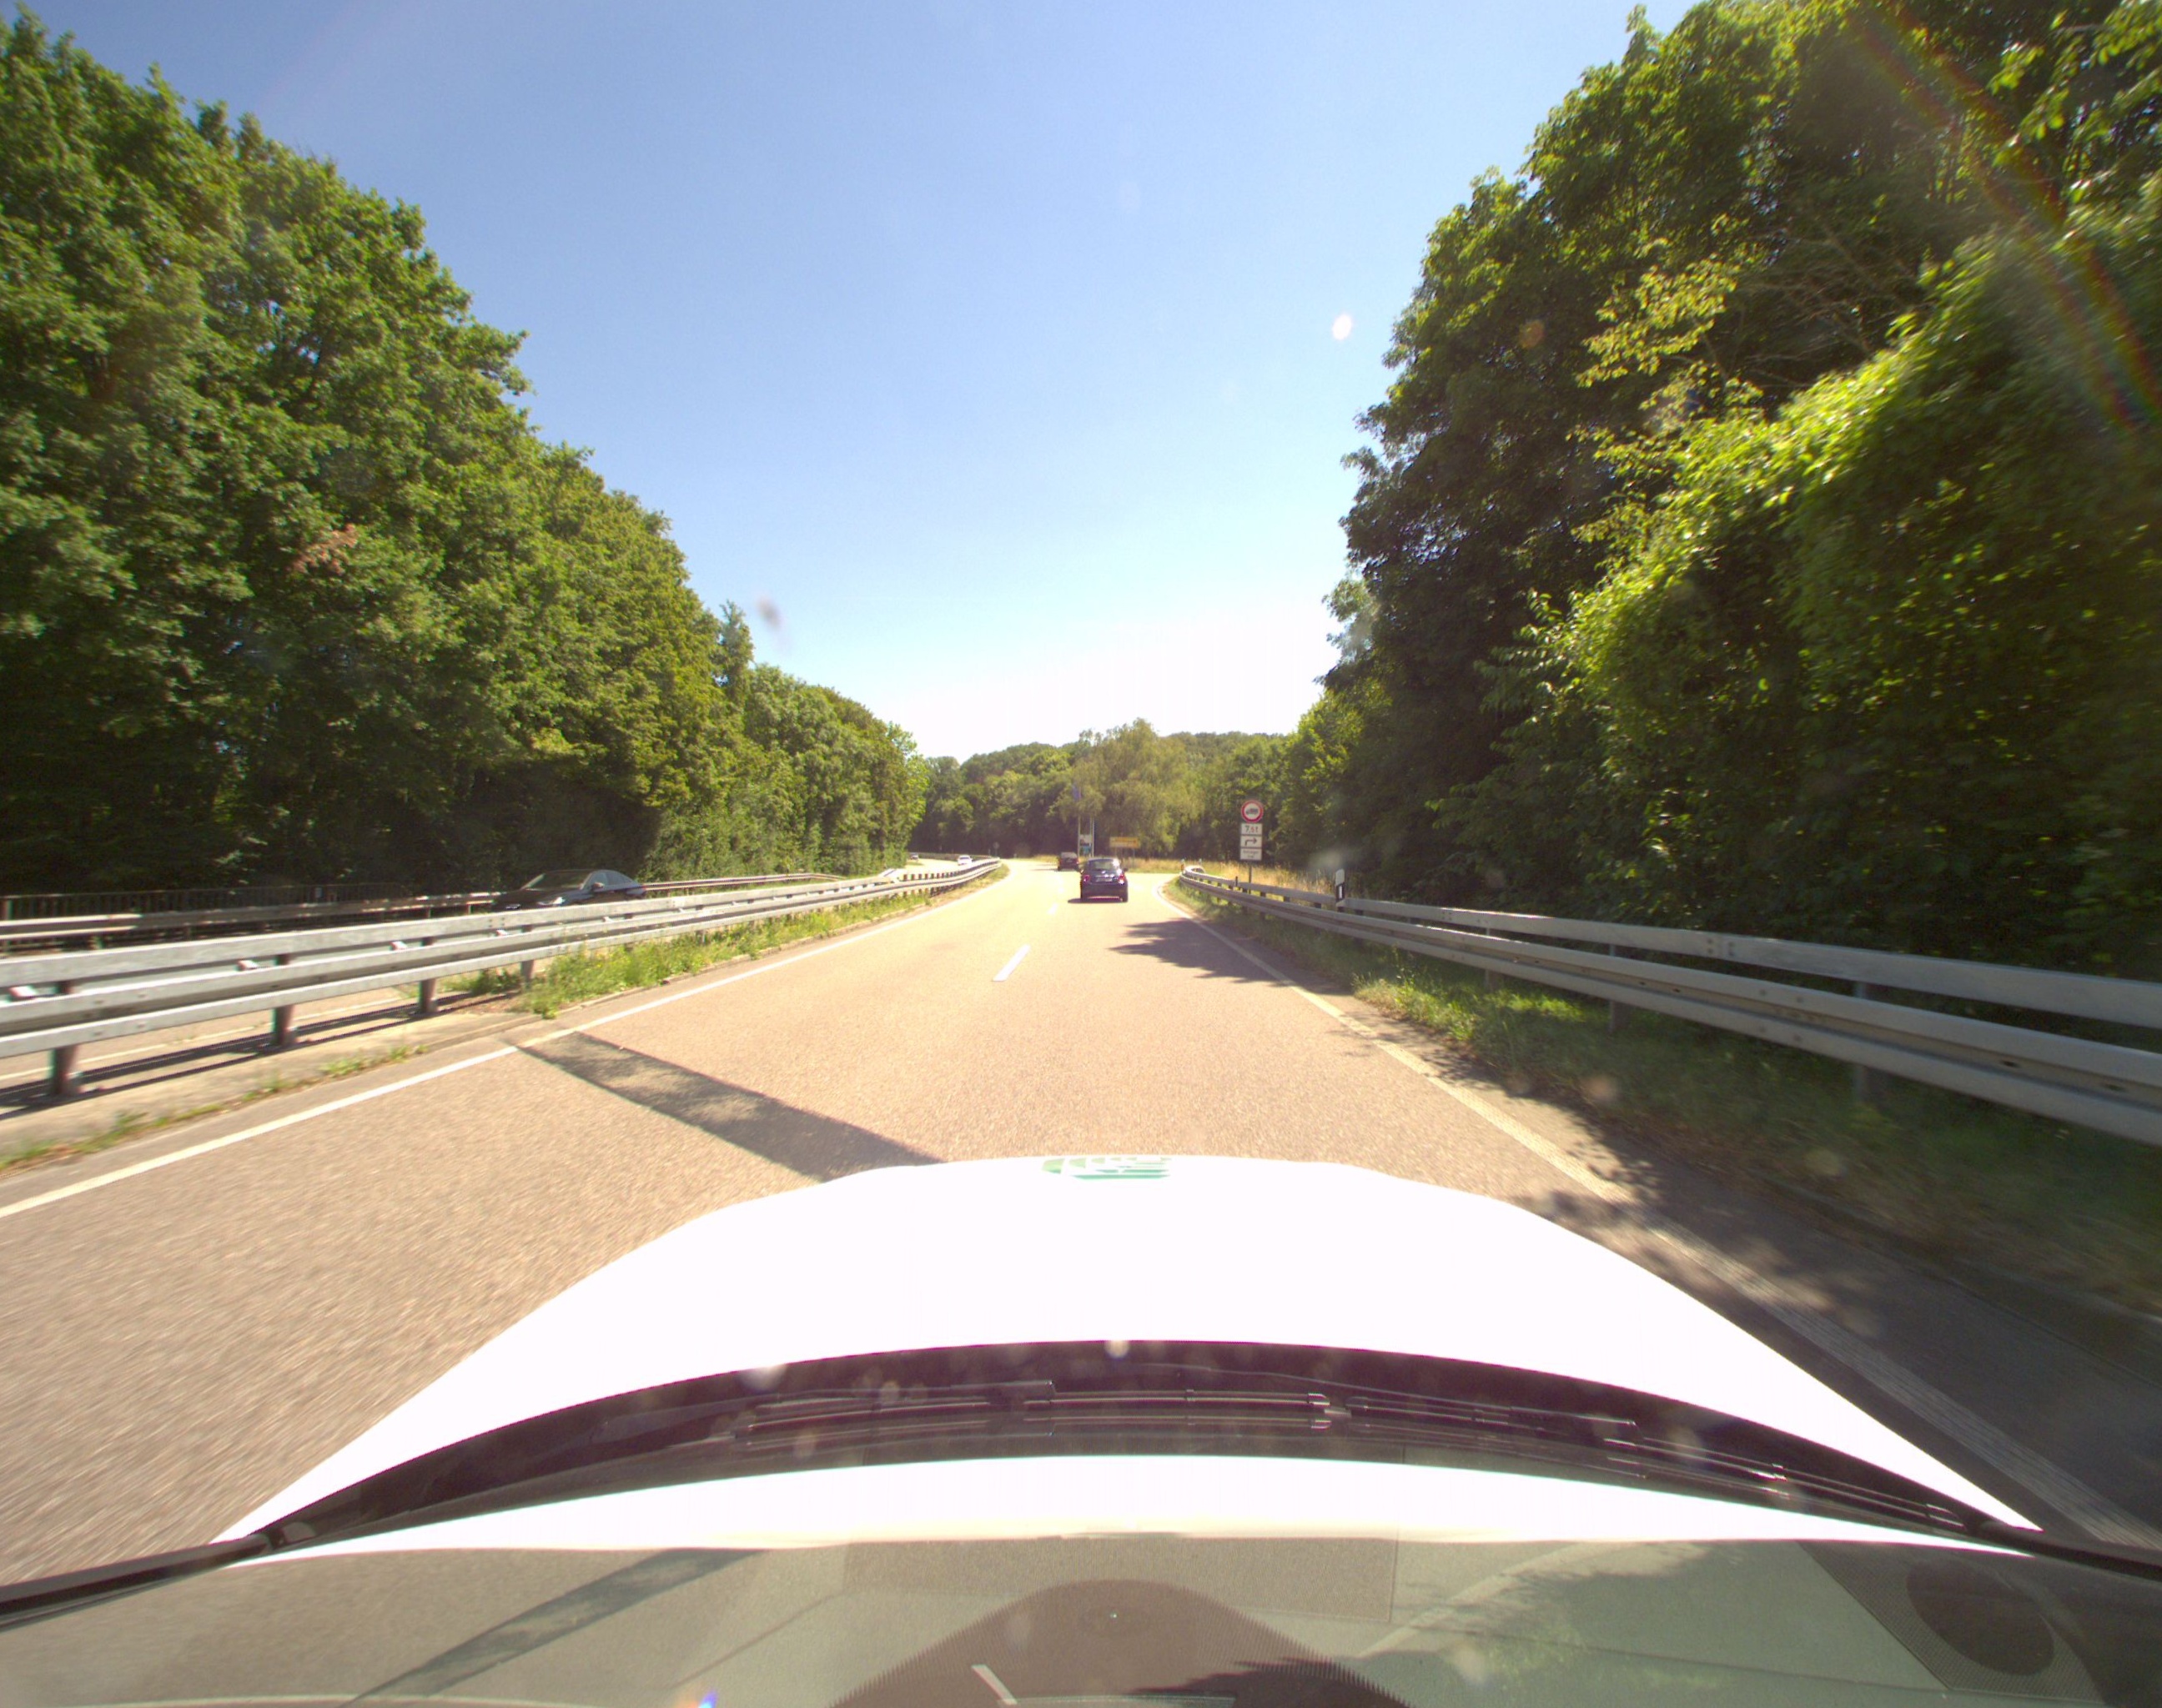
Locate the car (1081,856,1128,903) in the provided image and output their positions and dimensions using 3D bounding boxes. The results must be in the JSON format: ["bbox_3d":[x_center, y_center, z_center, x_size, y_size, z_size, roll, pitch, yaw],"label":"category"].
[{"bbox_3d":[0.816,0.845,28.399,1.508,1.501,3.591,-1,0,2],"label":"car"}]

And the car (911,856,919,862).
[{"bbox_3d":[-38.854,1.275,190.904,1.444,1.381,3.825,-1,0,-18],"label":"car"}]

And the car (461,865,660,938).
[{"bbox_3d":[-12.758,1.081,20.397,1.748,1.528,4.688,-1,0,3],"label":"car"}]

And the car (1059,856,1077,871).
[{"bbox_3d":[-1.228,0.874,73.883,1.521,1.313,3.412,-1,0,-2],"label":"car"}]

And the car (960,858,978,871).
[{"bbox_3d":[-14.405,1.378,105.224,1.750,1.573,4.412,-1,0,-1],"label":"car"}]
